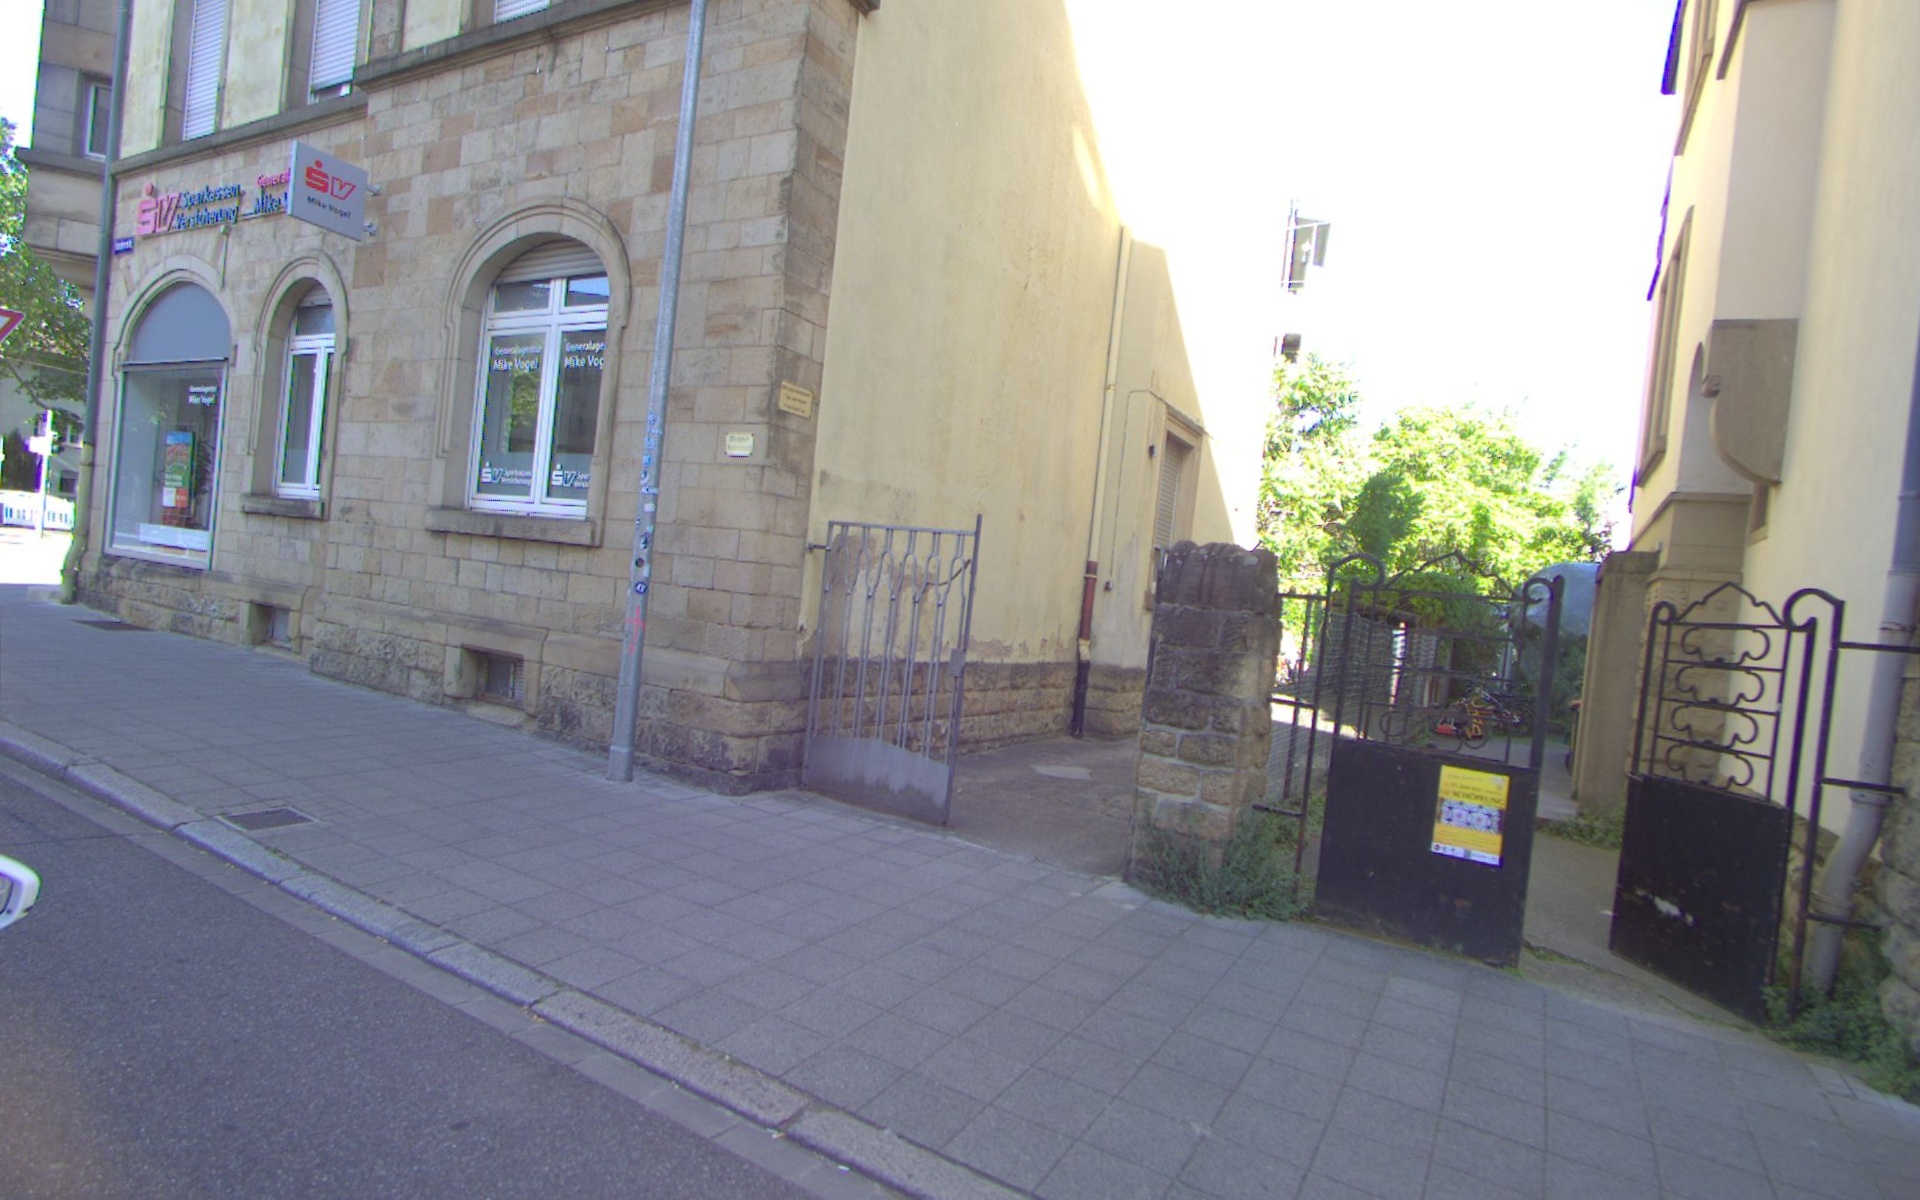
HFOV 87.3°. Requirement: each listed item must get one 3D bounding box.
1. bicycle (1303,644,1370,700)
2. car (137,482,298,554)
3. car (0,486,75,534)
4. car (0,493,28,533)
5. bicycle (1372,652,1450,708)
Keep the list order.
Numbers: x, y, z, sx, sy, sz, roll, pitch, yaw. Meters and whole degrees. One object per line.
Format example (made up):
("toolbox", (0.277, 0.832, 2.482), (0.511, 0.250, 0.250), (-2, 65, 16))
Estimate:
("bicycle", (9.578, 1.807, 25.714), (0.860, 1.180, 2.659), (6, 0, 6))
("car", (-34.582, -3.749, 47.155), (1.962, 2.600, 6.061), (7, 0, 14))
("car", (-34.355, -3.327, 36.004), (1.598, 1.491, 3.800), (6, 1, 9))
("car", (-39.599, -3.637, 40.027), (1.496, 1.506, 3.391), (6, 0, 10))
("bicycle", (11.266, 1.965, 25.247), (0.855, 1.124, 2.864), (6, 0, 7))
